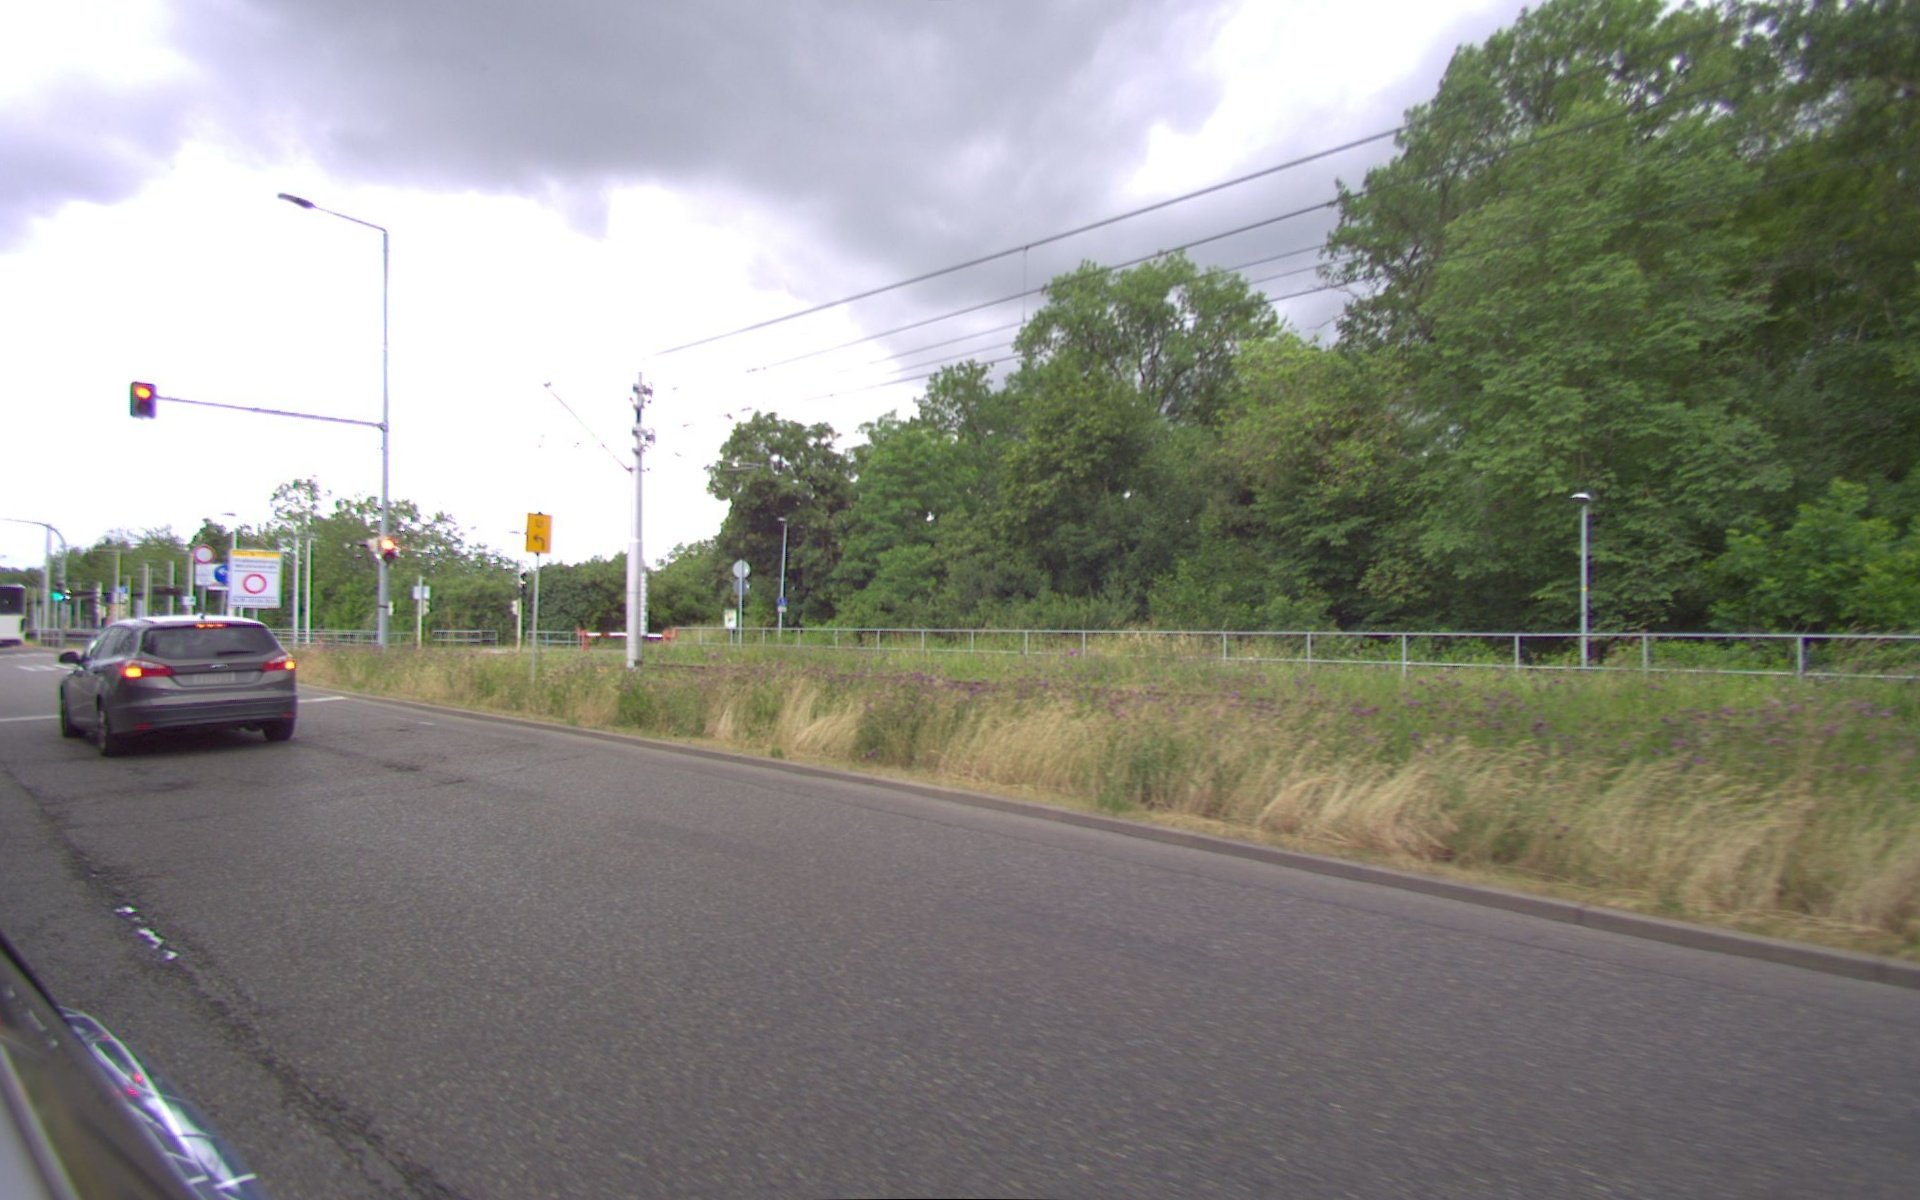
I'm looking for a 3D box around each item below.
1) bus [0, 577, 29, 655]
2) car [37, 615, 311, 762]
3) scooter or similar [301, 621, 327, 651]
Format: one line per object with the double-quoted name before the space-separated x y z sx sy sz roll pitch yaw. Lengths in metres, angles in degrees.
"bus" -45.536 0.654 42.993 12.083 3.227 2.662 0 -1 15
"car" -9.481 0.911 12.074 4.426 1.445 1.737 -1 -2 41
"scooter or similar" -28.087 1.571 44.004 1.264 1.281 0.407 -1 -2 31
